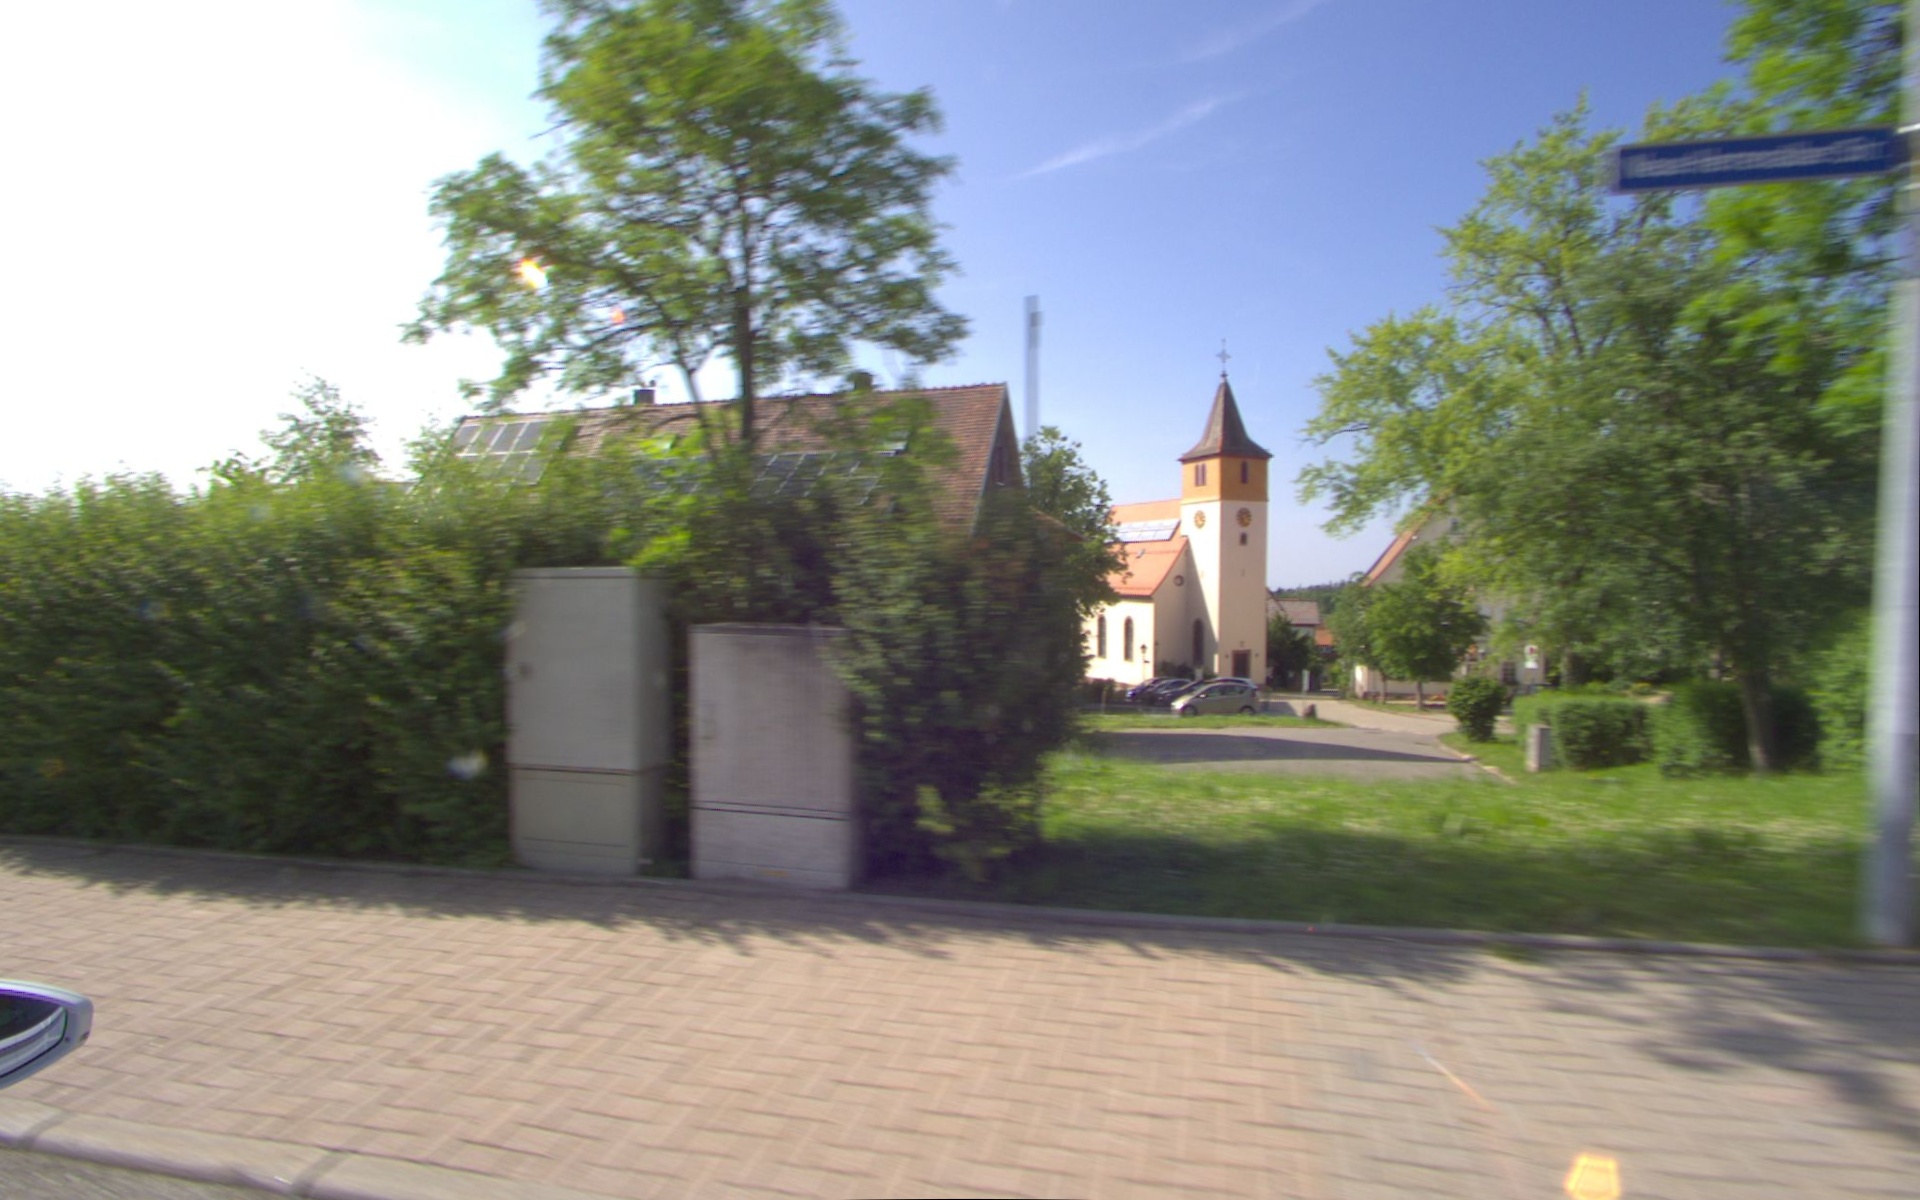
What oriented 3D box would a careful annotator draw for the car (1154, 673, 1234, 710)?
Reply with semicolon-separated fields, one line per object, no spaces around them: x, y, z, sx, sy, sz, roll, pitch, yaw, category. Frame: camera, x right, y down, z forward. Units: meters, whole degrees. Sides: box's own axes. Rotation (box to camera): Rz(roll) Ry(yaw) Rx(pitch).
11.827;4.632;50.808;3.712;1.780;1.714;-1;-2;4;car

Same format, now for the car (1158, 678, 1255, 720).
11.066;4.453;45.133;4.024;1.780;1.714;-1;-2;5;car

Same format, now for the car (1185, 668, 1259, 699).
14.478;4.630;55.444;3.712;1.613;1.714;-1;-2;4;car
